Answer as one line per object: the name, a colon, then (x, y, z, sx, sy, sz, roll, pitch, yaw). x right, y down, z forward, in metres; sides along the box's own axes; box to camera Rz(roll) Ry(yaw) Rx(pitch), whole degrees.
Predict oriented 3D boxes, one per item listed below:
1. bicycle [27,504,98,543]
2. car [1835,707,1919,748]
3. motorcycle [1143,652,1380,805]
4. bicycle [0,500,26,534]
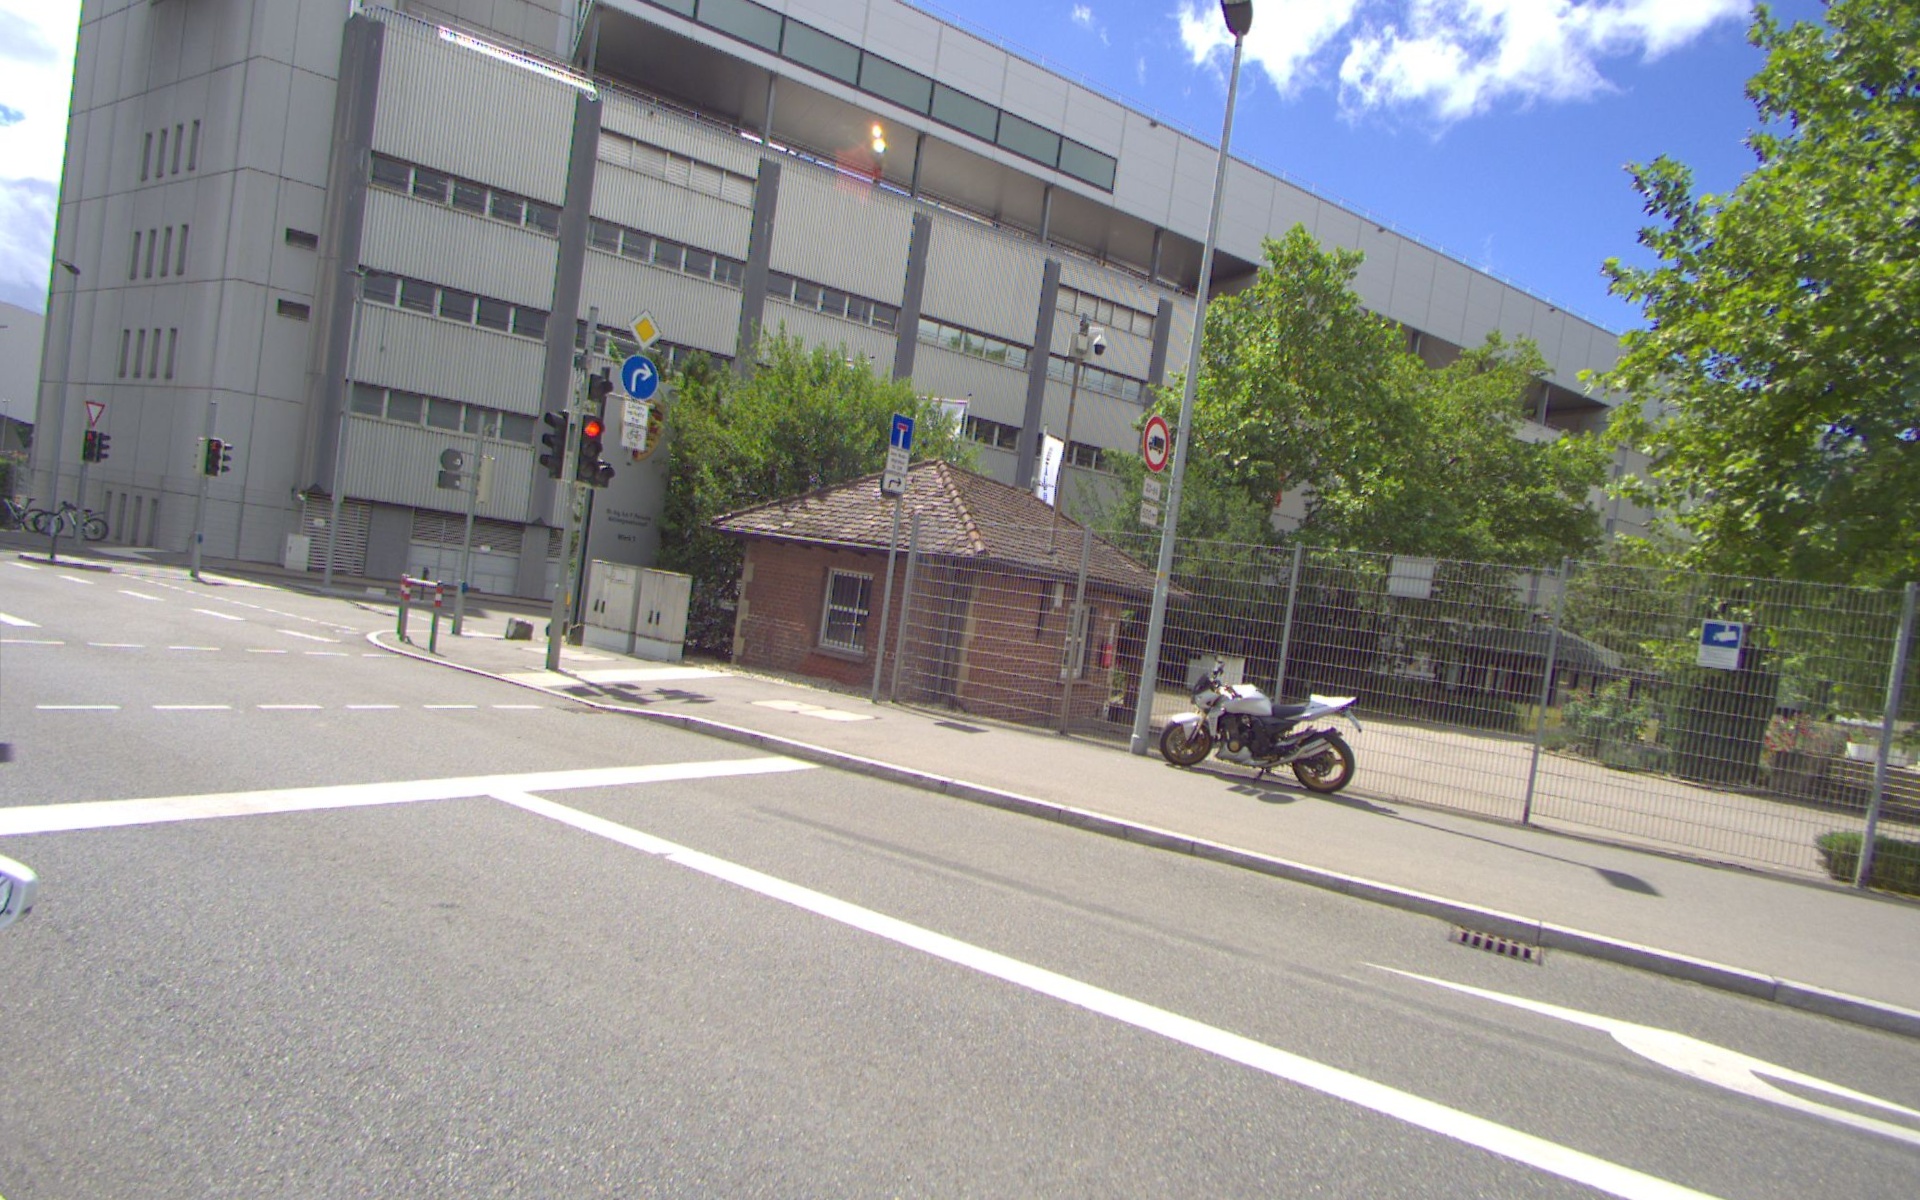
bicycle: (-27.660, -2.361, 31.000, 1.892, 0.948, 0.399, 7, 0, 6)
car: (52.615, 7.251, 57.080, 1.979, 1.803, 3.970, 8, -2, -30)
motorcycle: (3.048, 1.249, 10.250, 2.110, 1.173, 0.693, 7, 2, 27)
bicycle: (-30.090, -2.656, 31.314, 1.891, 0.948, 0.399, 7, 0, 13)
